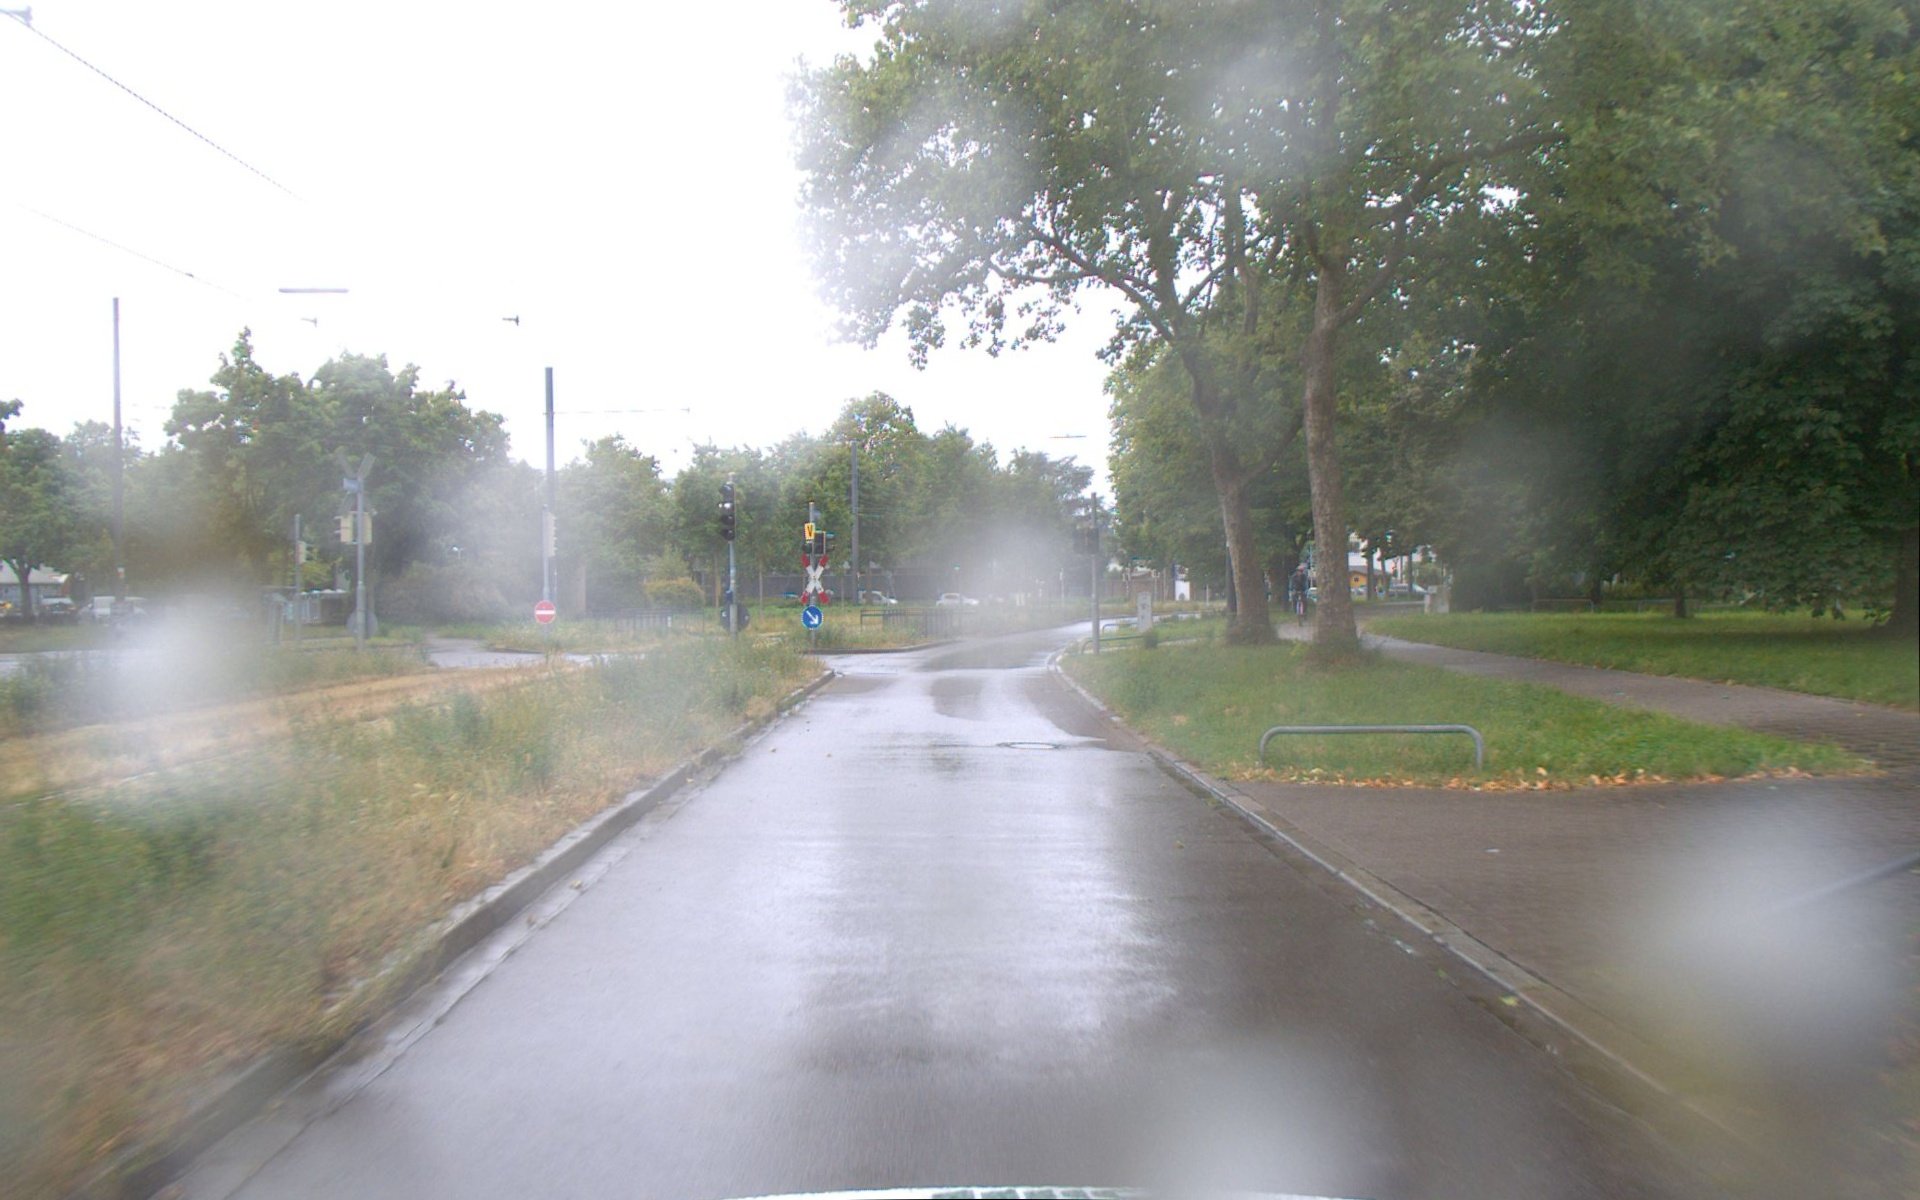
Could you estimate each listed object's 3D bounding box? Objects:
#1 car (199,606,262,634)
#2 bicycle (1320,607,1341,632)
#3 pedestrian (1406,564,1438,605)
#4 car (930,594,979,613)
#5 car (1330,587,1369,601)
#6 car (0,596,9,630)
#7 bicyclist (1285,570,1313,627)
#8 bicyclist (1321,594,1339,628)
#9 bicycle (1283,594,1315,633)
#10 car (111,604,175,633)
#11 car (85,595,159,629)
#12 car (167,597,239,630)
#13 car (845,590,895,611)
[{"bbox_3d":[-34.651,0.932,78.540,1.652,1.271,3.684,-1,0,-42],"label":"car"},{"bbox_3d":[11.477,0.605,51.250,0.476,0.721,1.458,-1,0,18],"label":"bicycle"},{"bbox_3d":[19.637,-0.669,70.267,1.016,1.724,0.850,-1,0,41],"label":"pedestrian"},{"bbox_3d":[-0.476,0.317,146.560,3.979,1.525,1.653,-1,-1,16],"label":"car"},{"bbox_3d":[42.285,-0.649,179.562,3.680,1.467,1.759,-1,0,31],"label":"car"},{"bbox_3d":[-36.909,0.509,61.968,1.650,1.271,3.689,-1,0,-39],"label":"car"},{"bbox_3d":[10.606,-0.051,51.753,0.696,1.751,0.957,-1,1,20],"label":"bicyclist"},{"bbox_3d":[11.473,0.335,51.239,0.476,1.056,0.592,-1,0,19],"label":"bicyclist"},{"bbox_3d":[10.593,0.412,51.706,0.696,1.162,1.973,-1,1,20],"label":"bicycle"},{"bbox_3d":[-37.308,0.859,75.488,1.652,1.271,3.684,-1,0,-42],"label":"car"},{"bbox_3d":[-32.628,0.477,64.353,1.652,1.271,3.684,-1,0,-42],"label":"car"},{"bbox_3d":[-30.594,0.556,66.804,1.652,1.271,3.684,-1,0,-42],"label":"car"},{"bbox_3d":[-8.114,0.071,149.091,4.121,1.828,1.653,-1,1,18],"label":"car"}]
